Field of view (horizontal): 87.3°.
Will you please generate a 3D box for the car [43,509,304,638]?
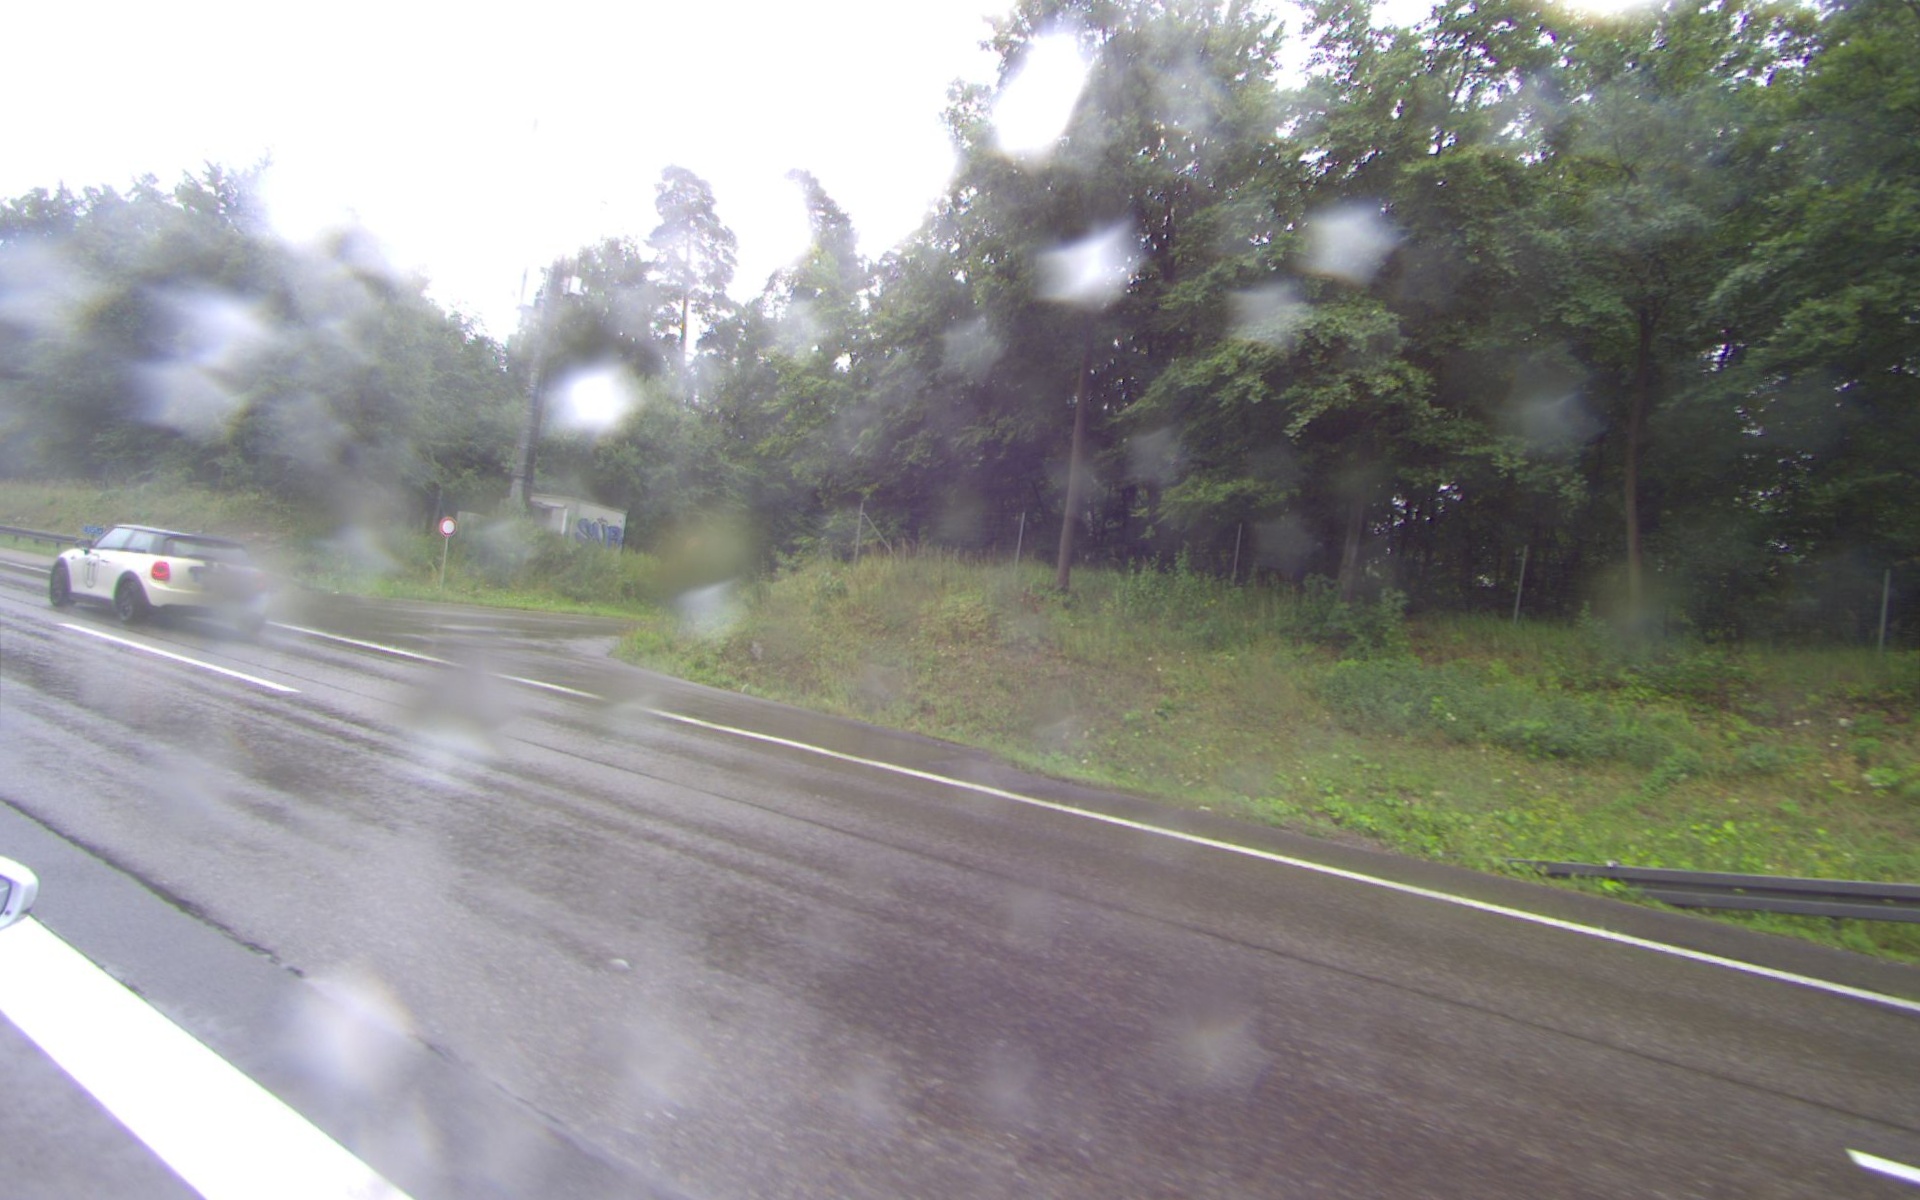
[{"bbox_3d":[-12.159,-0.431,15.485,4.159,1.423,1.793,7,-1,33],"label":"car"}]
